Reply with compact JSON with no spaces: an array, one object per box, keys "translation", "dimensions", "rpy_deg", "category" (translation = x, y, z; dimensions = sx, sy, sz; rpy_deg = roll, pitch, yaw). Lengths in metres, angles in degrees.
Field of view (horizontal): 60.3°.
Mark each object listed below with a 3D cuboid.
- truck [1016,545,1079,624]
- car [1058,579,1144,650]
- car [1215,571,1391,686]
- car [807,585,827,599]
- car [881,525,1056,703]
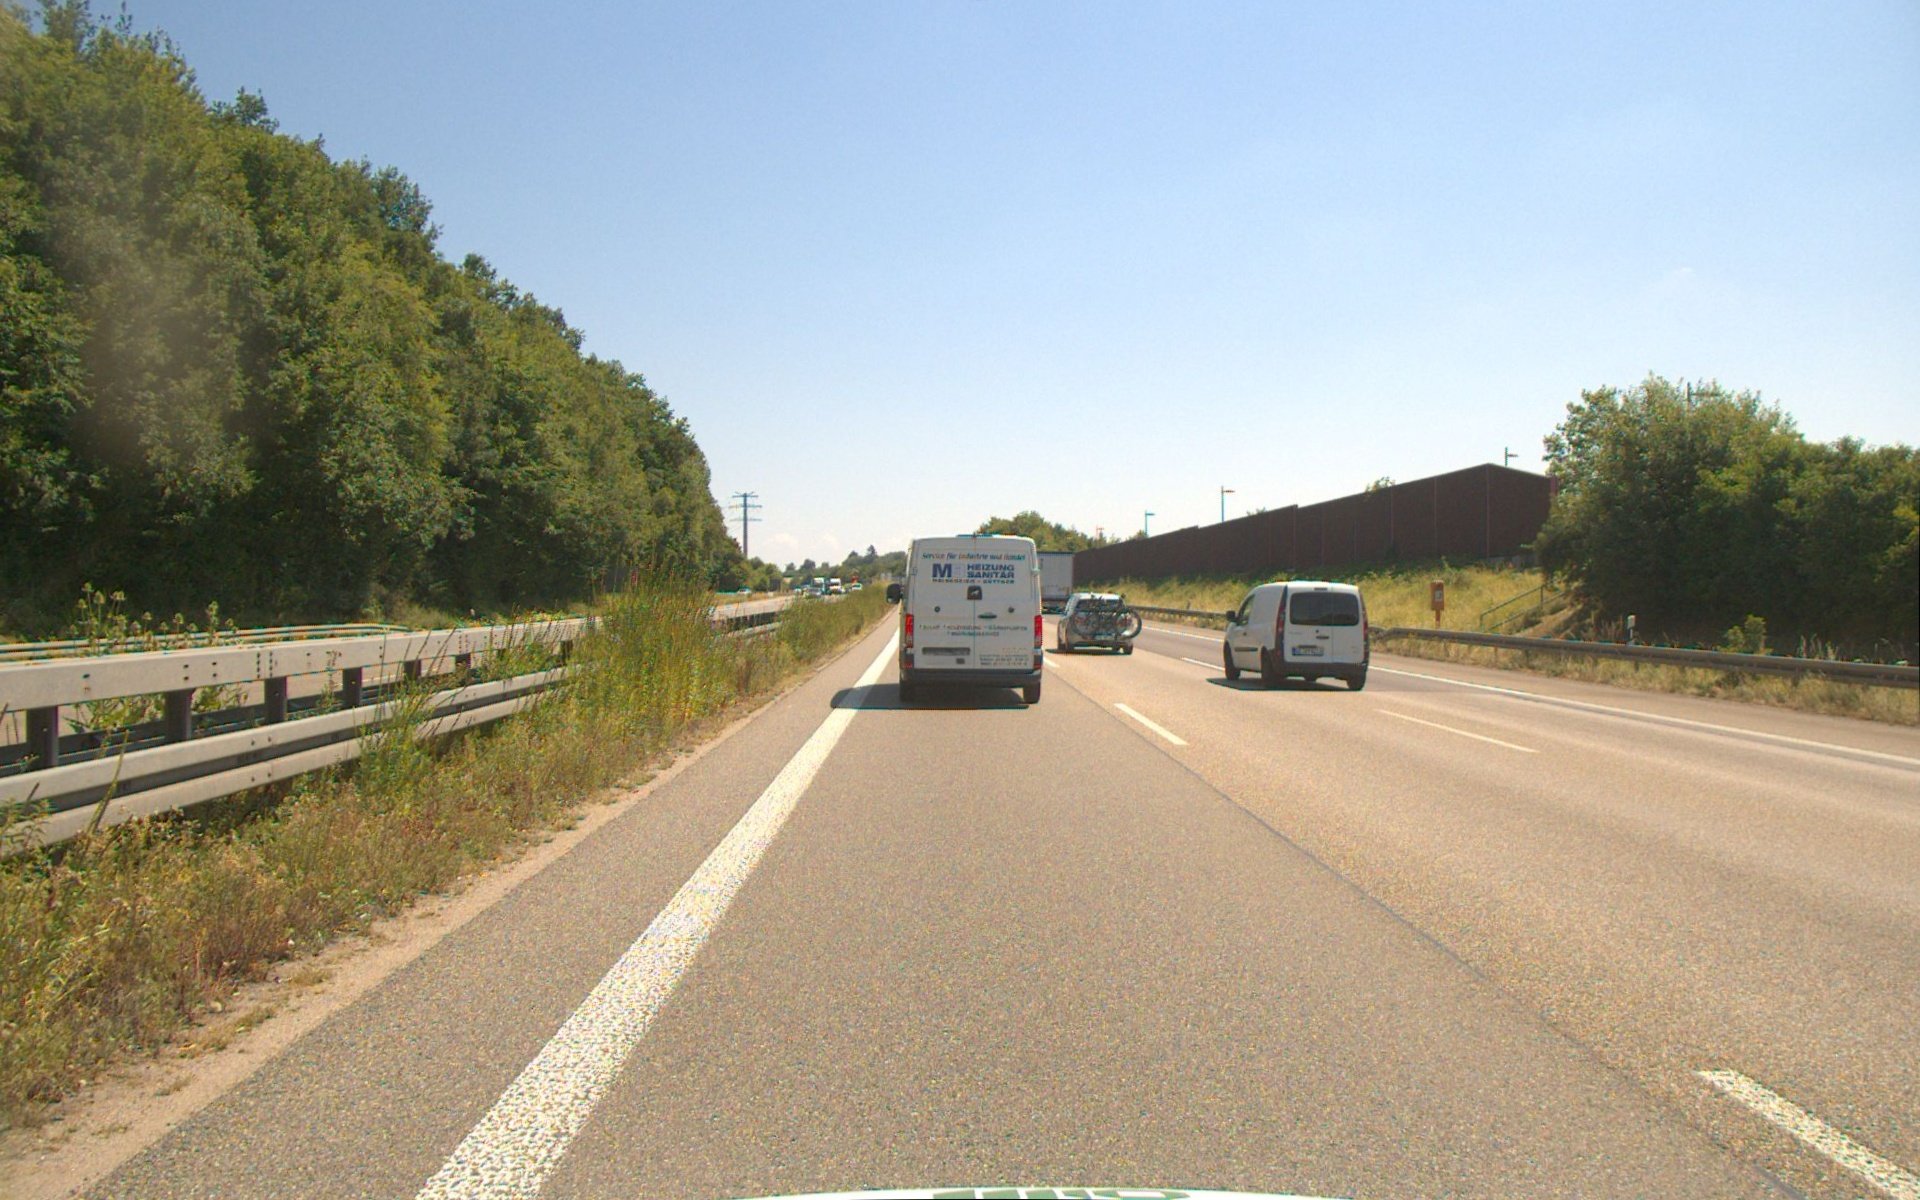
[{"translation":[5.942,-0.968,114.534],"dimensions":[3.710,5.087,12.519],"rpy_deg":[1,0,1],"category":"truck"},{"translation":[3.641,0.377,43.360],"dimensions":[1.935,1.763,4.089],"rpy_deg":[-1,0,1],"category":"car"},{"translation":[5.989,0.480,29.374],"dimensions":[1.912,1.870,4.173],"rpy_deg":[-1,0,-5],"category":"car"},{"translation":[-16.737,-0.903,194.199],"dimensions":[1.953,1.545,4.721],"rpy_deg":[-2,1,-1],"category":"car"},{"translation":[-0.013,0.192,24.311],"dimensions":[2.139,2.293,5.358],"rpy_deg":[1,0,-4],"category":"car"}]
